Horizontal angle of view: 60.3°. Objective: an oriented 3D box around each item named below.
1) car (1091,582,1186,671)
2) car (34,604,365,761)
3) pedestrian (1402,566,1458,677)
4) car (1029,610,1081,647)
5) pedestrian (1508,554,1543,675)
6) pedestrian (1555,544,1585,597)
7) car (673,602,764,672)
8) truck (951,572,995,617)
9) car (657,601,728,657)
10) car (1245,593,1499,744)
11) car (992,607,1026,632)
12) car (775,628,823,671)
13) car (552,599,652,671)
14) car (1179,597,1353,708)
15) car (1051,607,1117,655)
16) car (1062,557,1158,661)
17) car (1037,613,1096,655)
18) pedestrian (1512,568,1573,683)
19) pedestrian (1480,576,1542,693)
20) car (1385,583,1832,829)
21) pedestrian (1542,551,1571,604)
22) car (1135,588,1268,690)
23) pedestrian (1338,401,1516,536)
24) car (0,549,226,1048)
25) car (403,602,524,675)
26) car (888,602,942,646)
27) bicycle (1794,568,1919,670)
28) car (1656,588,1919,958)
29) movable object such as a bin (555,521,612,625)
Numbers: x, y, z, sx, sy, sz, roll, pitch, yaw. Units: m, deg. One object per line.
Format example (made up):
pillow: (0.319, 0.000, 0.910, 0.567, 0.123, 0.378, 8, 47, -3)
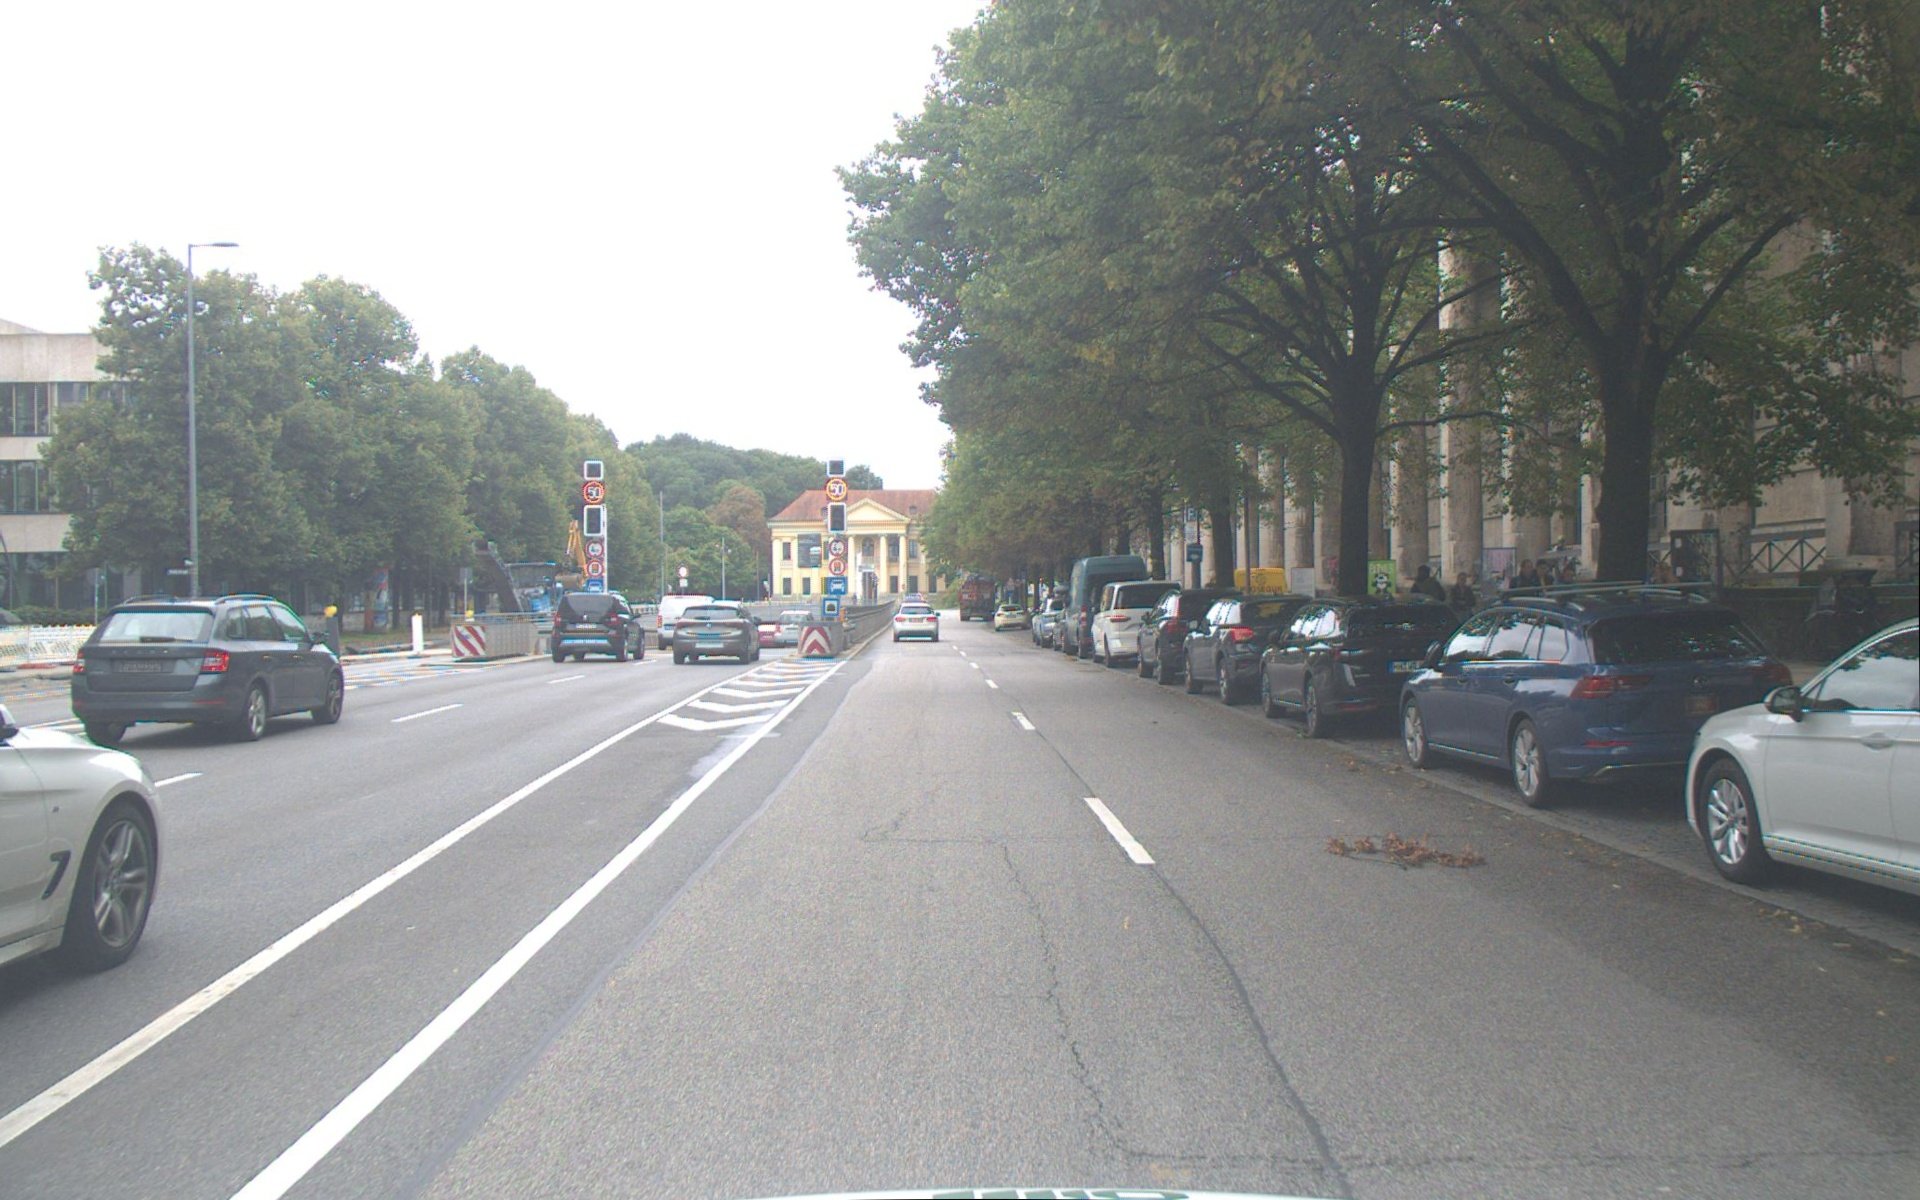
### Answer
car: (4.069, 0.585, 38.294, 1.689, 1.900, 4.027, -1, 0, -1)
car: (-8.025, 0.801, 17.929, 1.757, 1.473, 4.273, -1, 0, -3)
pedestrian: (8.365, 0.385, 29.436, 0.763, 1.943, 0.771, 0, 0, -1)
car: (3.588, 1.067, 63.200, 1.689, 1.347, 4.027, -1, 0, -1)
pedestrian: (9.175, 0.231, 26.864, 0.517, 1.943, 0.652, 0, 0, 18)
pedestrian: (16.262, -0.790, 44.115, 0.555, 1.397, 0.646, 0, 0, -1)
car: (-5.702, 0.842, 39.460, 1.675, 1.579, 3.999, 0, 0, -2)
truck: (0.980, -0.439, 130.540, 3.258, 3.426, 8.660, 0, 0, -1)
car: (-9.460, 0.991, 58.790, 1.860, 1.880, 4.954, -1, 0, -2)
car: (4.615, 0.705, 19.259, 1.689, 1.490, 4.775, -1, 0, -1)
car: (2.718, 1.062, 92.071, 1.689, 1.347, 4.027, -1, 0, -1)
car: (-6.812, 2.086, 70.186, 1.743, 1.683, 3.998, 0, 0, -2)
car: (-8.863, 0.836, 41.207, 1.688, 1.665, 4.203, -1, 0, -2)
car: (4.476, 0.727, 24.747, 1.785, 1.490, 4.027, -1, 0, -1)
car: (3.801, 0.943, 51.294, 1.689, 1.388, 4.027, -1, 0, -1)
car: (4.034, 0.236, 45.164, 1.954, 2.689, 4.875, 0, 0, -3)
car: (3.629, 1.135, 56.962, 1.689, 1.347, 4.027, -1, 0, -1)
pedestrian: (9.964, 0.427, 28.323, 0.763, 1.943, 0.771, 0, 0, -1)
pedestrian: (9.258, 0.571, 27.817, 0.763, 1.943, 0.771, 0, 0, -1)
car: (4.859, 0.705, 13.179, 1.689, 1.577, 4.584, -1, 0, -1)
pedestrian: (16.166, -0.605, 44.836, 0.555, 1.397, 0.646, 0, 0, -1)
car: (4.342, 0.672, 30.394, 1.689, 1.694, 4.589, -1, 0, -1)
pedestrian: (8.171, -2.248, 29.303, 1.953, 2.049, 3.999, 0, 0, -1)
car: (-4.057, 0.672, 4.920, 1.757, 1.665, 5.022, -1, 0, -4)
car: (-11.940, 0.900, 40.052, 1.954, 1.624, 3.996, -1, 0, -4)
car: (-1.791, 0.906, 64.685, 1.745, 1.673, 3.994, 0, 0, -6)
bicycle: (13.330, 0.272, 24.530, 0.685, 1.440, 2.298, -1, 0, -1)
car: (5.003, 0.730, 7.297, 1.790, 1.577, 4.750, -1, 0, -1)
movable object such as a bin: (-24.818, -1.738, 109.288, 2.645, 6.625, 5.174, 0, 0, -1)
